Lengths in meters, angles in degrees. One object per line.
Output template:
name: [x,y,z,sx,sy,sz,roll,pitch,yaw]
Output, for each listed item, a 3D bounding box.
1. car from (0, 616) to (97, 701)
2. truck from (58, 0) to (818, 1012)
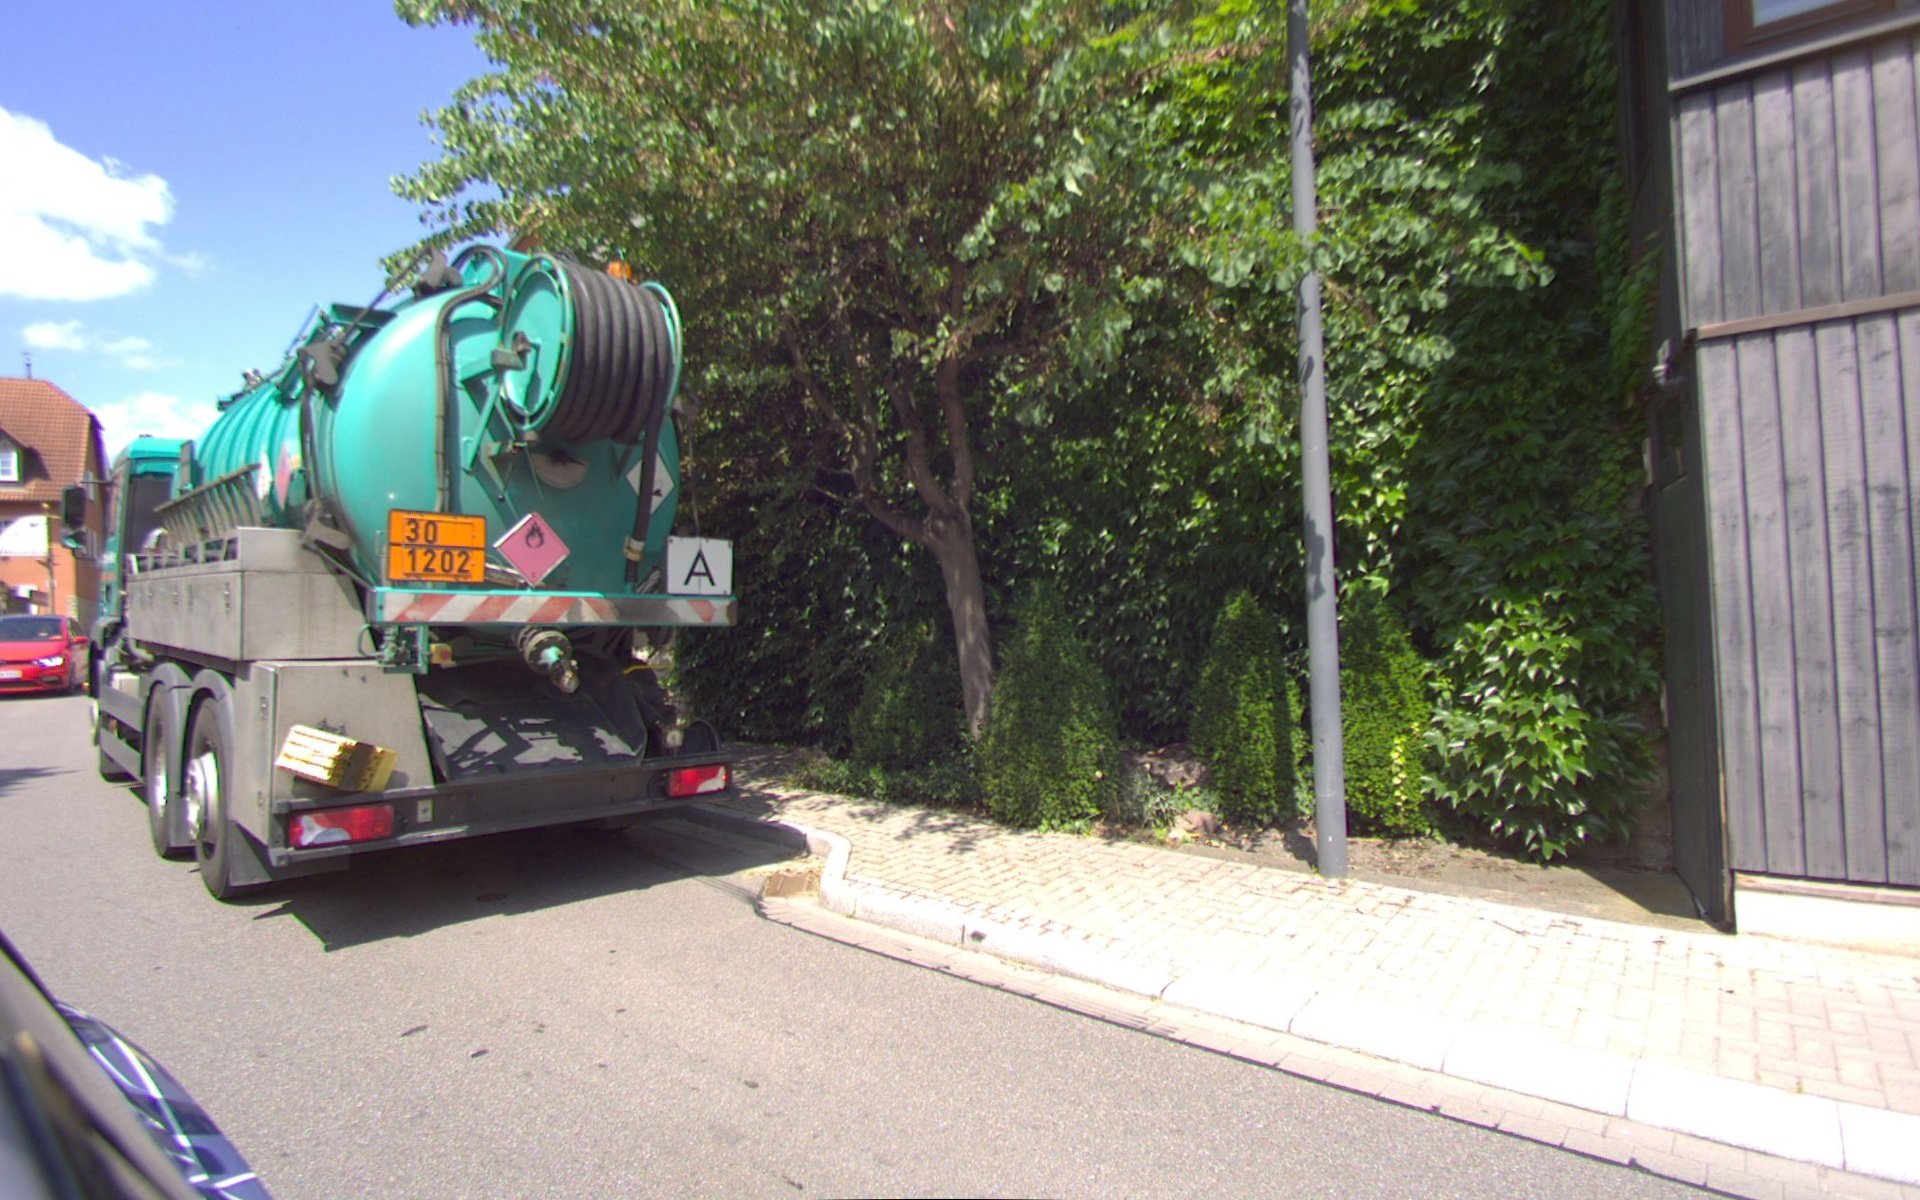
car: [-16.544,0.974,17.797,1.643,1.362,3.504,0,0,-33]
truck: [-4.972,-0.297,7.838,9.571,3.686,2.384,-1,-2,45]
